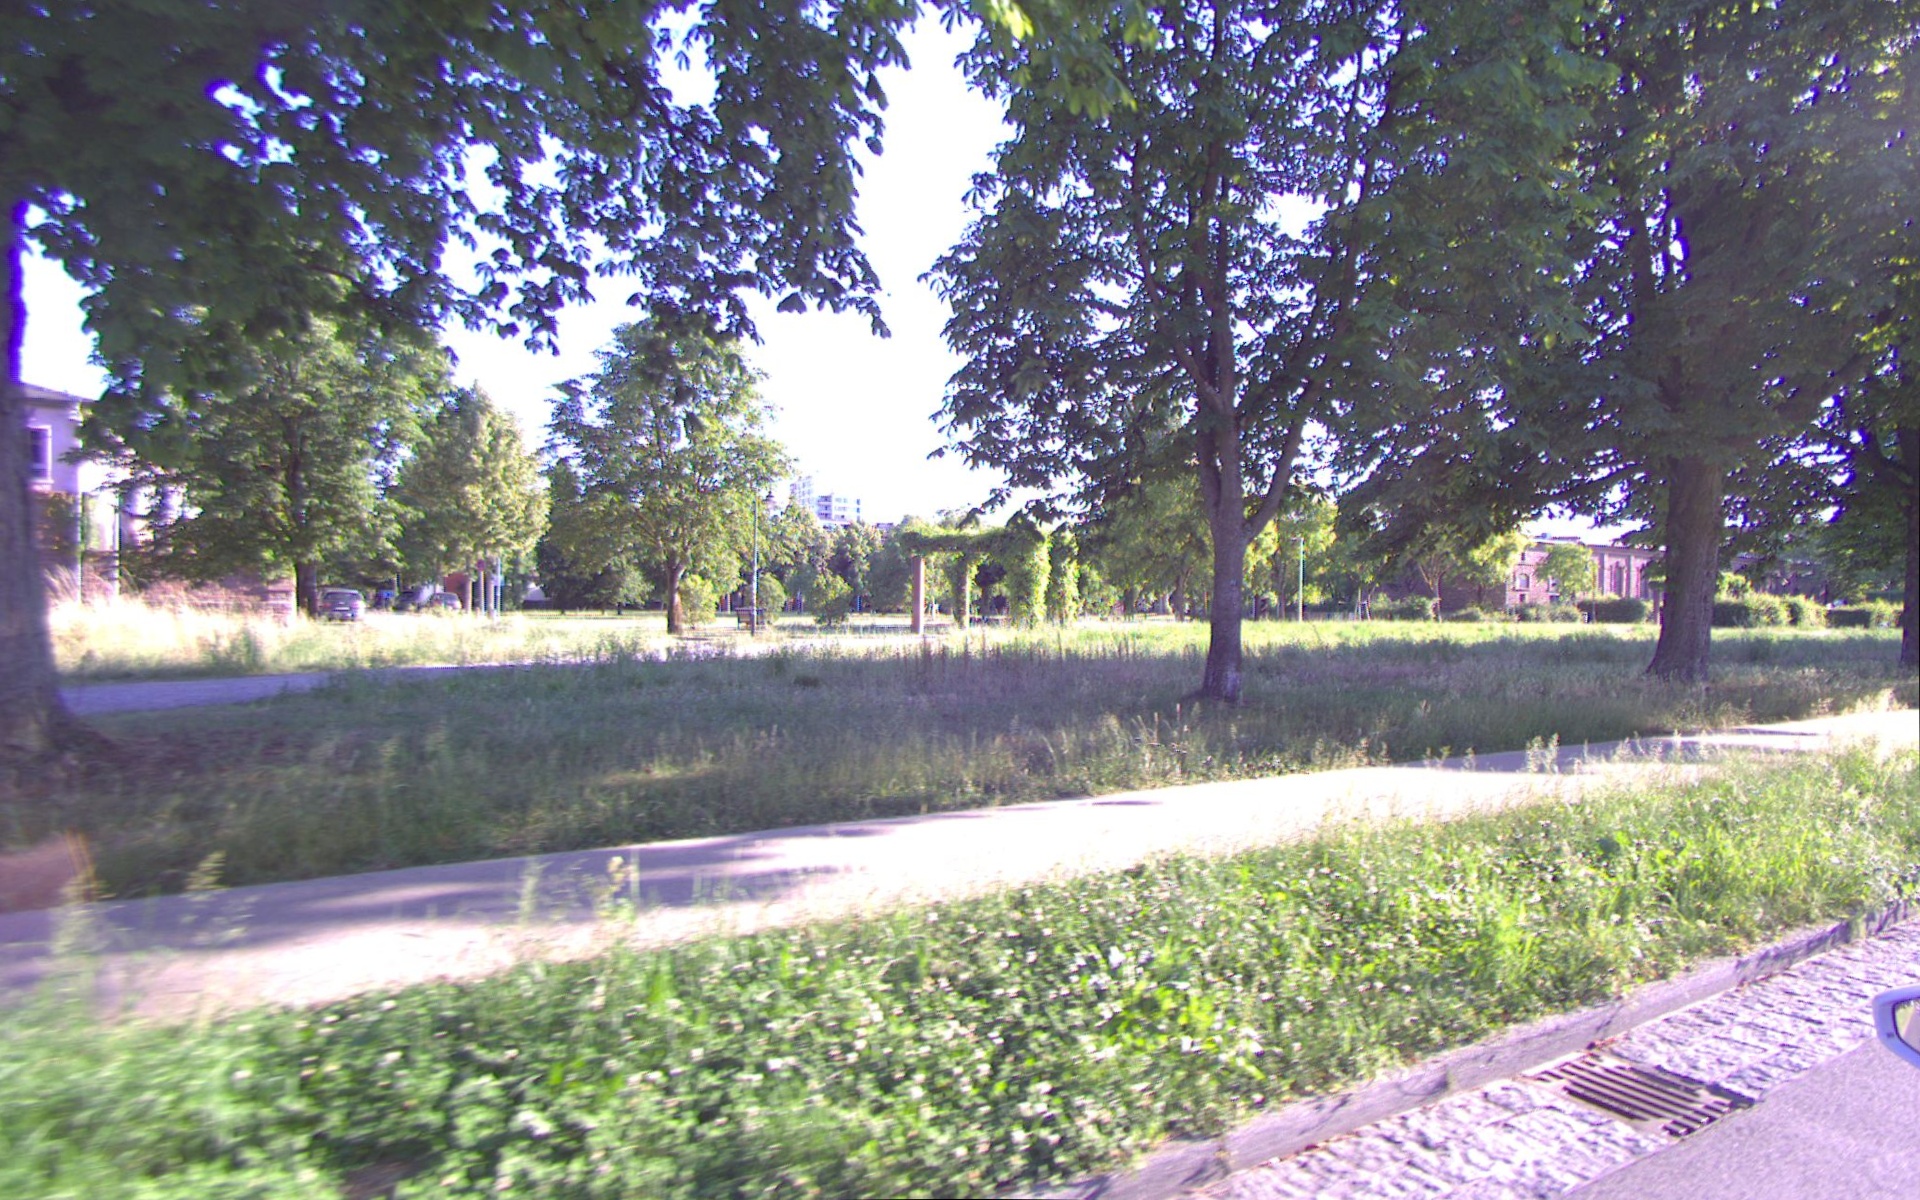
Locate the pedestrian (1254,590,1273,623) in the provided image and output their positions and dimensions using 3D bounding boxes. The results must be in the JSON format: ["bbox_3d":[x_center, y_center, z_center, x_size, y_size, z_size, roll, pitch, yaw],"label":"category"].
[{"bbox_3d":[16.254,0.355,53.842,0.764,1.747,0.714,2,1,32],"label":"pedestrian"}]

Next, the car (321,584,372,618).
[{"bbox_3d":[-25.918,0.021,42.536,1.566,1.297,3.613,2,1,-28],"label":"car"}]
